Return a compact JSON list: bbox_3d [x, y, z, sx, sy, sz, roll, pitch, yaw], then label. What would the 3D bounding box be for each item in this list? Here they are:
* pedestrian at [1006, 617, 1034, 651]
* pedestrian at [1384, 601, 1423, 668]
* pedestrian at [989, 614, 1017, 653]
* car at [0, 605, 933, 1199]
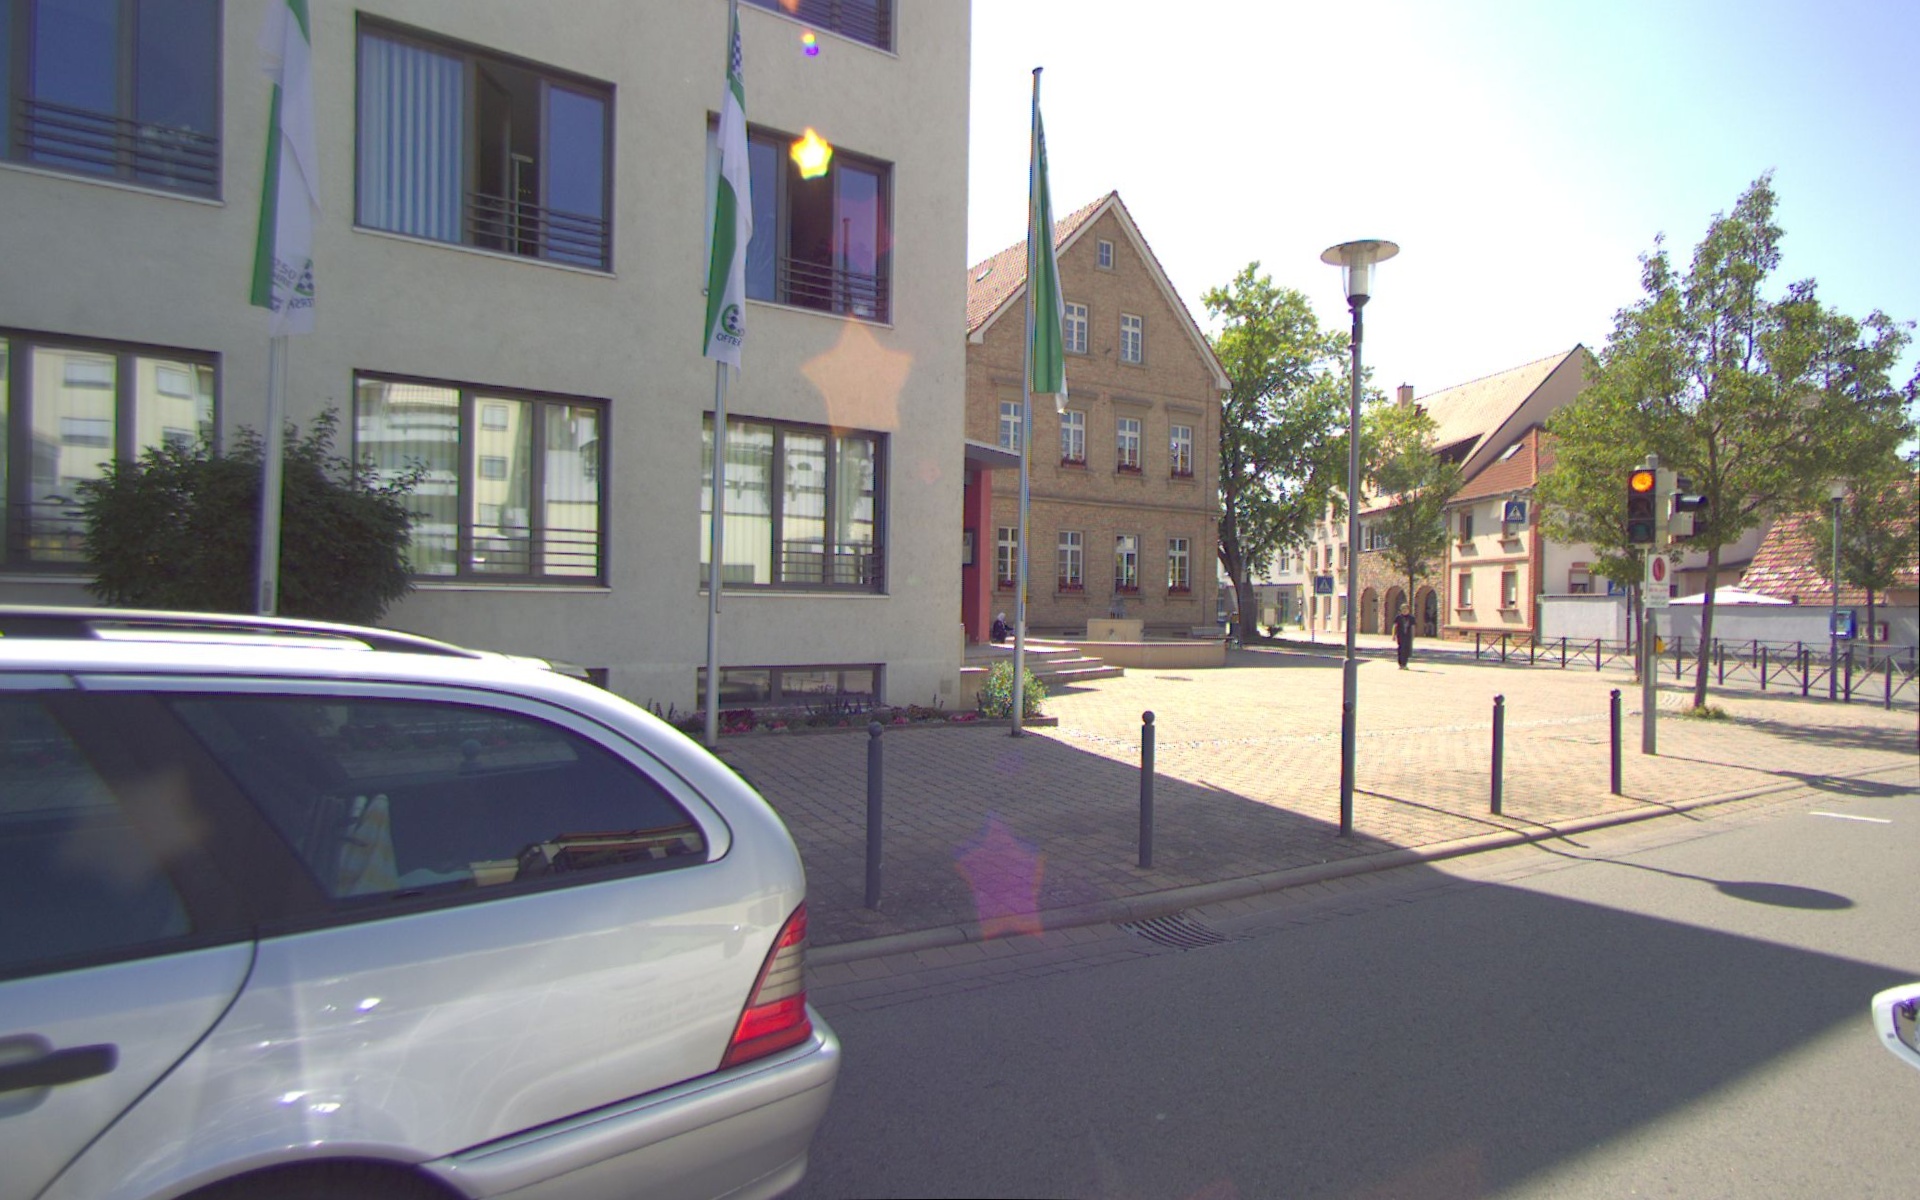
[{"bbox_3d":[1.876,1.057,31.321,0.610,1.041,0.636,1,0,-29],"label":"pedestrian"},{"bbox_3d":[11.407,0.882,25.852,0.798,1.676,0.851,2,0,19],"label":"pedestrian"},{"bbox_3d":[1.308,1.034,30.885,0.610,1.186,0.636,1,0,-29],"label":"pedestrian"},{"bbox_3d":[-2.418,0.723,1.628,4.386,1.483,1.871,3,-2,-31],"label":"car"}]
